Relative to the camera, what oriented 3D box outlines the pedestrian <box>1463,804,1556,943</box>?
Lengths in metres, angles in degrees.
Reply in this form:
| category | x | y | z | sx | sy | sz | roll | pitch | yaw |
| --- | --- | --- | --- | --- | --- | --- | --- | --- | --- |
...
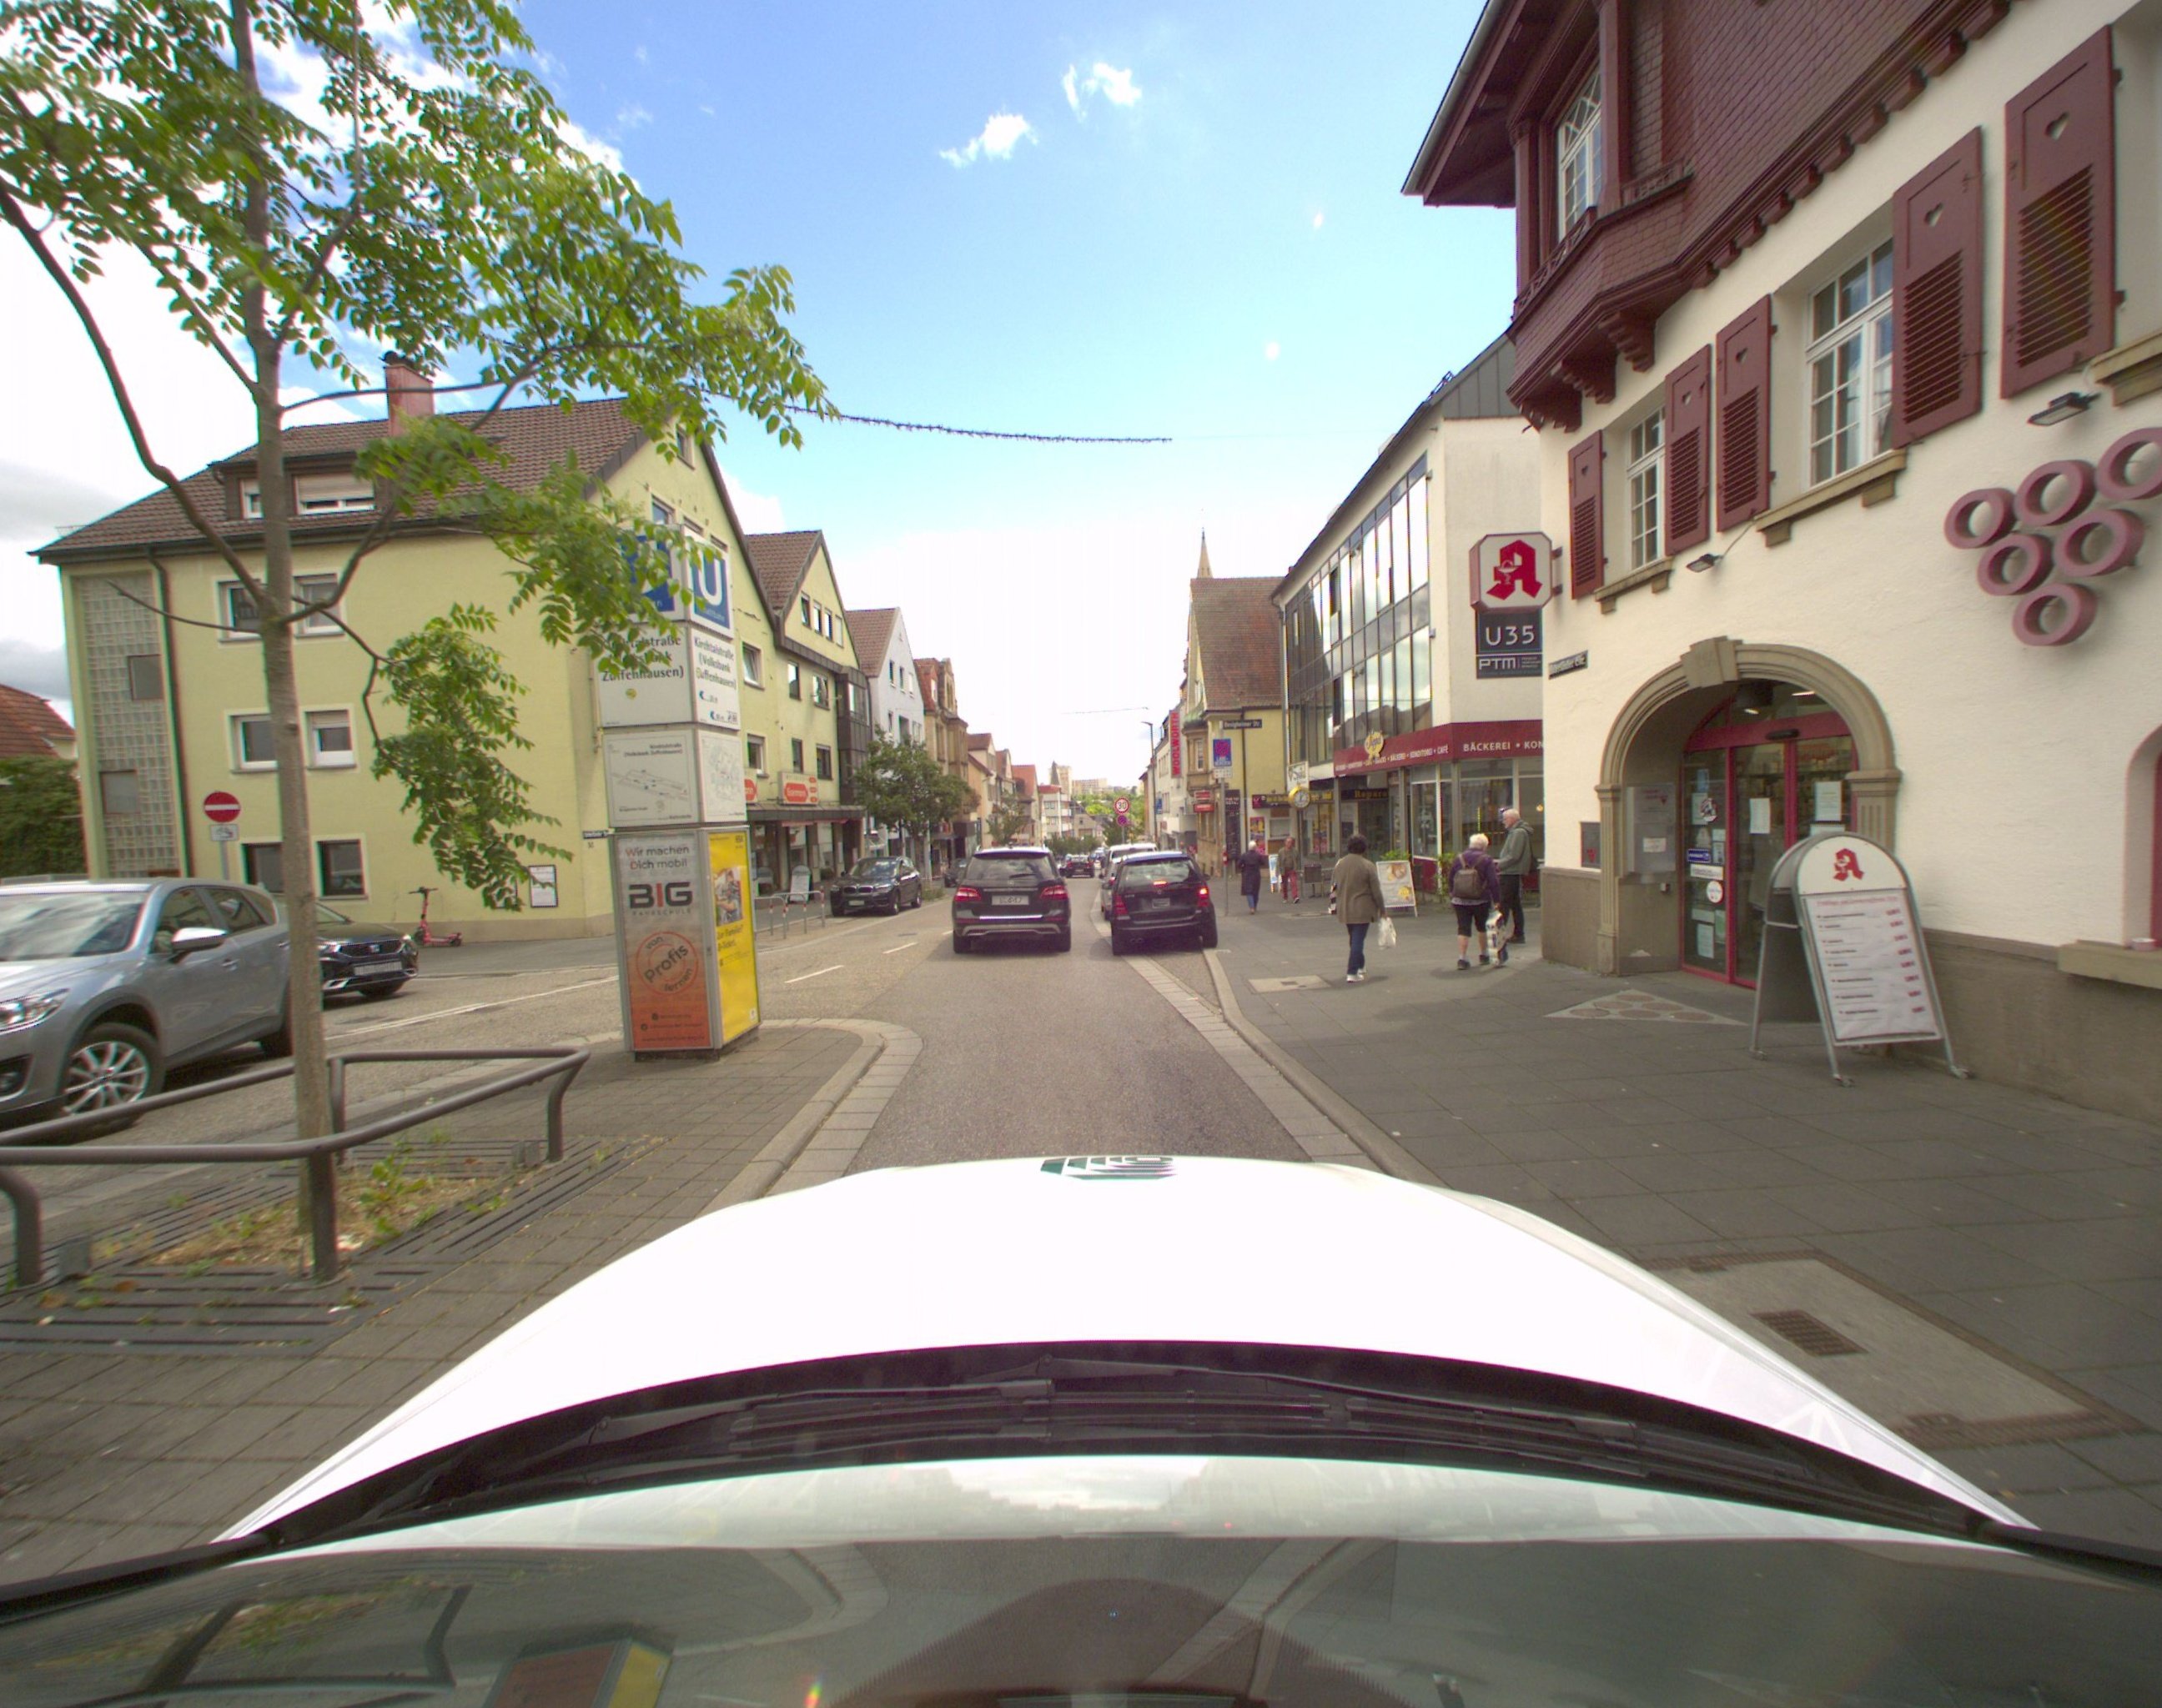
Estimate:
| category | x | y | z | sx | sy | sz | roll | pitch | yaw |
| --- | --- | --- | --- | --- | --- | --- | --- | --- | --- |
| pedestrian | 5.723 | 0.250 | 10.916 | 0.771 | 1.769 | 0.818 | -2 | 0 | 3 |

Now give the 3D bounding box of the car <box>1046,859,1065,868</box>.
| category | x | y | z | sx | sy | sz | roll | pitch | yaw |
| --- | --- | --- | --- | --- | --- | --- | --- | --- | --- |
| car | -5.505 | 2.130 | 178.703 | 3.977 | 1.750 | 1.998 | -4 | -1 | -2 |

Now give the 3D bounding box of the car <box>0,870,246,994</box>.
| category | x | y | z | sx | sy | sz | roll | pitch | yaw |
| --- | --- | --- | --- | --- | --- | --- | --- | --- | --- |
| car | -18.382 | 1.433 | 14.855 | 4.317 | 1.805 | 2.004 | -5 | 2 | 6 |

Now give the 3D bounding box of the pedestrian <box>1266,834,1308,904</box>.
| category | x | y | z | sx | sy | sz | roll | pitch | yaw |
| --- | --- | --- | --- | --- | --- | --- | --- | --- | --- |
| pedestrian | 5.223 | 0.369 | 20.703 | 0.859 | 1.707 | 0.947 | -2 | 0 | 8 |

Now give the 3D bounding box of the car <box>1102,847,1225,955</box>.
| category | x | y | z | sx | sy | sz | roll | pitch | yaw |
| --- | --- | --- | --- | --- | --- | --- | --- | --- | --- |
| car | 1.344 | 0.713 | 14.341 | 1.796 | 1.555 | 3.956 | -3 | 0 | 2 |

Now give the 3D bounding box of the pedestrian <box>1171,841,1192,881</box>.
| category | x | y | z | sx | sy | sz | roll | pitch | yaw |
| --- | --- | --- | --- | --- | --- | --- | --- | --- | --- |
| pedestrian | 4.485 | 0.301 | 36.415 | 0.793 | 1.727 | 1.053 | -3 | -1 | 2 |

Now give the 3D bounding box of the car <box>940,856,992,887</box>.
| category | x | y | z | sx | sy | sz | roll | pitch | yaw |
| --- | --- | --- | --- | --- | --- | --- | --- | --- | --- |
| car | -5.884 | 0.849 | 42.071 | 1.920 | 1.492 | 4.843 | 0 | 0 | 1 |

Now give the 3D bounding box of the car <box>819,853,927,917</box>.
| category | x | y | z | sx | sy | sz | roll | pitch | yaw |
| --- | --- | --- | --- | --- | --- | --- | --- | --- | --- |
| car | -6.214 | 0.863 | 24.927 | 1.999 | 1.693 | 4.609 | -1 | 1 | 2 |

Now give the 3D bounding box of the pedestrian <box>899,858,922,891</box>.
| category | x | y | z | sx | sy | sz | roll | pitch | yaw |
| --- | --- | --- | --- | --- | --- | --- | --- | --- | --- |
| pedestrian | -7.663 | 0.925 | 36.665 | 0.823 | 1.463 | 0.810 | 0 | -1 | 1 |

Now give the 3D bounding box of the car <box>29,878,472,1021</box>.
| category | x | y | z | sx | sy | sz | roll | pitch | yaw |
| --- | --- | --- | --- | --- | --- | --- | --- | --- | --- |
| car | -11.171 | 1.244 | 11.147 | 4.335 | 1.569 | 1.919 | -3 | 0 | 6 |

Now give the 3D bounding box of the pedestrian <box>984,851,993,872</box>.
| category | x | y | z | sx | sy | sz | roll | pitch | yaw |
| --- | --- | --- | --- | --- | --- | --- | --- | --- | --- |
| pedestrian | -6.564 | 0.517 | 57.890 | 0.487 | 1.463 | 0.561 | 0 | -1 | 11 |

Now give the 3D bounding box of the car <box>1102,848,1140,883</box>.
| category | x | y | z | sx | sy | sz | roll | pitch | yaw |
| --- | --- | --- | --- | --- | --- | --- | --- | --- | --- |
| car | 2.040 | 0.552 | 41.318 | 1.741 | 1.607 | 3.803 | -4 | 0 | 3 |

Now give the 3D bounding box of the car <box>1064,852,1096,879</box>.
| category | x | y | z | sx | sy | sz | roll | pitch | yaw |
| --- | --- | --- | --- | --- | --- | --- | --- | --- | --- |
| car | -0.038 | 0.689 | 51.380 | 1.779 | 1.540 | 3.746 | -3 | 0 | 2 |

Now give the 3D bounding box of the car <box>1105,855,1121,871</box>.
| category | x | y | z | sx | sy | sz | roll | pitch | yaw |
| --- | --- | --- | --- | --- | --- | --- | --- | --- | --- |
| car | 4.223 | 1.212 | 109.458 | 1.931 | 1.891 | 4.708 | -4 | 0 | 1 |

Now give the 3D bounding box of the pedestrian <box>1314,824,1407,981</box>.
| category | x | y | z | sx | sy | sz | roll | pitch | yaw |
| --- | --- | --- | --- | --- | --- | --- | --- | --- | --- |
| pedestrian | 3.105 | 0.521 | 9.136 | 0.768 | 1.645 | 0.872 | -2 | 0 | 8 |

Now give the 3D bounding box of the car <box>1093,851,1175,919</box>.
| category | x | y | z | sx | sy | sz | roll | pitch | yaw |
| --- | --- | --- | --- | --- | --- | --- | --- | --- | --- |
| car | 1.237 | 0.709 | 20.480 | 1.698 | 1.467 | 3.999 | -3 | 0 | -1 |

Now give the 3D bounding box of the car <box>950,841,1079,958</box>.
| category | x | y | z | sx | sy | sz | roll | pitch | yaw |
| --- | --- | --- | --- | --- | --- | --- | --- | --- | --- |
| car | -1.279 | 0.694 | 14.487 | 1.942 | 1.740 | 4.167 | -1 | 0 | -8 |

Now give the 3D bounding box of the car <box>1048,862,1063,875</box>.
| category | x | y | z | sx | sy | sz | roll | pitch | yaw |
| --- | --- | --- | --- | --- | --- | --- | --- | --- | --- |
| car | -3.477 | 1.950 | 110.865 | 1.921 | 1.595 | 4.455 | 0 | 0 | -1 |

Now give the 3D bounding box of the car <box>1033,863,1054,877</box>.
| category | x | y | z | sx | sy | sz | roll | pitch | yaw |
| --- | --- | --- | --- | --- | --- | --- | --- | --- | --- |
| car | -4.081 | 1.733 | 89.937 | 1.919 | 1.430 | 4.265 | -1 | -1 | 3 |

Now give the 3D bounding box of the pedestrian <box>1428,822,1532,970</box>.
| category | x | y | z | sx | sy | sz | roll | pitch | yaw |
| --- | --- | --- | --- | --- | --- | --- | --- | --- | --- |
| pedestrian | 4.449 | 0.450 | 9.142 | 0.720 | 1.531 | 0.809 | -5 | -1 | 8 |

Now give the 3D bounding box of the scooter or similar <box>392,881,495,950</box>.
| category | x | y | z | sx | sy | sz | roll | pitch | yaw |
| --- | --- | --- | --- | --- | --- | --- | --- | --- | --- |
| scooter or similar | -13.307 | 1.272 | 17.025 | 1.585 | 1.280 | 0.591 | -3 | 4 | 2 |

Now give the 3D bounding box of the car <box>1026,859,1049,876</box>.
| category | x | y | z | sx | sy | sz | roll | pitch | yaw |
| --- | --- | --- | --- | --- | --- | --- | --- | --- | --- |
| car | -4.371 | 1.332 | 82.173 | 1.920 | 1.621 | 4.639 | -1 | -1 | 1 |

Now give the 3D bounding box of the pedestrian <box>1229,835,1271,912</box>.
| category | x | y | z | sx | sy | sz | roll | pitch | yaw |
| --- | --- | --- | --- | --- | --- | --- | --- | --- | --- |
| pedestrian | 3.804 | 0.428 | 18.408 | 0.819 | 1.666 | 0.803 | -2 | 0 | 8 |

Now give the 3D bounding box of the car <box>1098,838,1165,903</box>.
| category | x | y | z | sx | sy | sz | roll | pitch | yaw |
| --- | --- | --- | --- | --- | --- | --- | --- | --- | --- |
| car | 1.670 | 0.458 | 25.682 | 1.867 | 1.799 | 4.739 | -2 | 0 | 5 |

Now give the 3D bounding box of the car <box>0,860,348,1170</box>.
| category | x | y | z | sx | sy | sz | roll | pitch | yaw |
| --- | --- | --- | --- | --- | --- | --- | --- | --- | --- |
| car | -7.381 | 0.919 | 5.826 | 1.973 | 1.621 | 4.318 | -2 | 0 | -25 |
